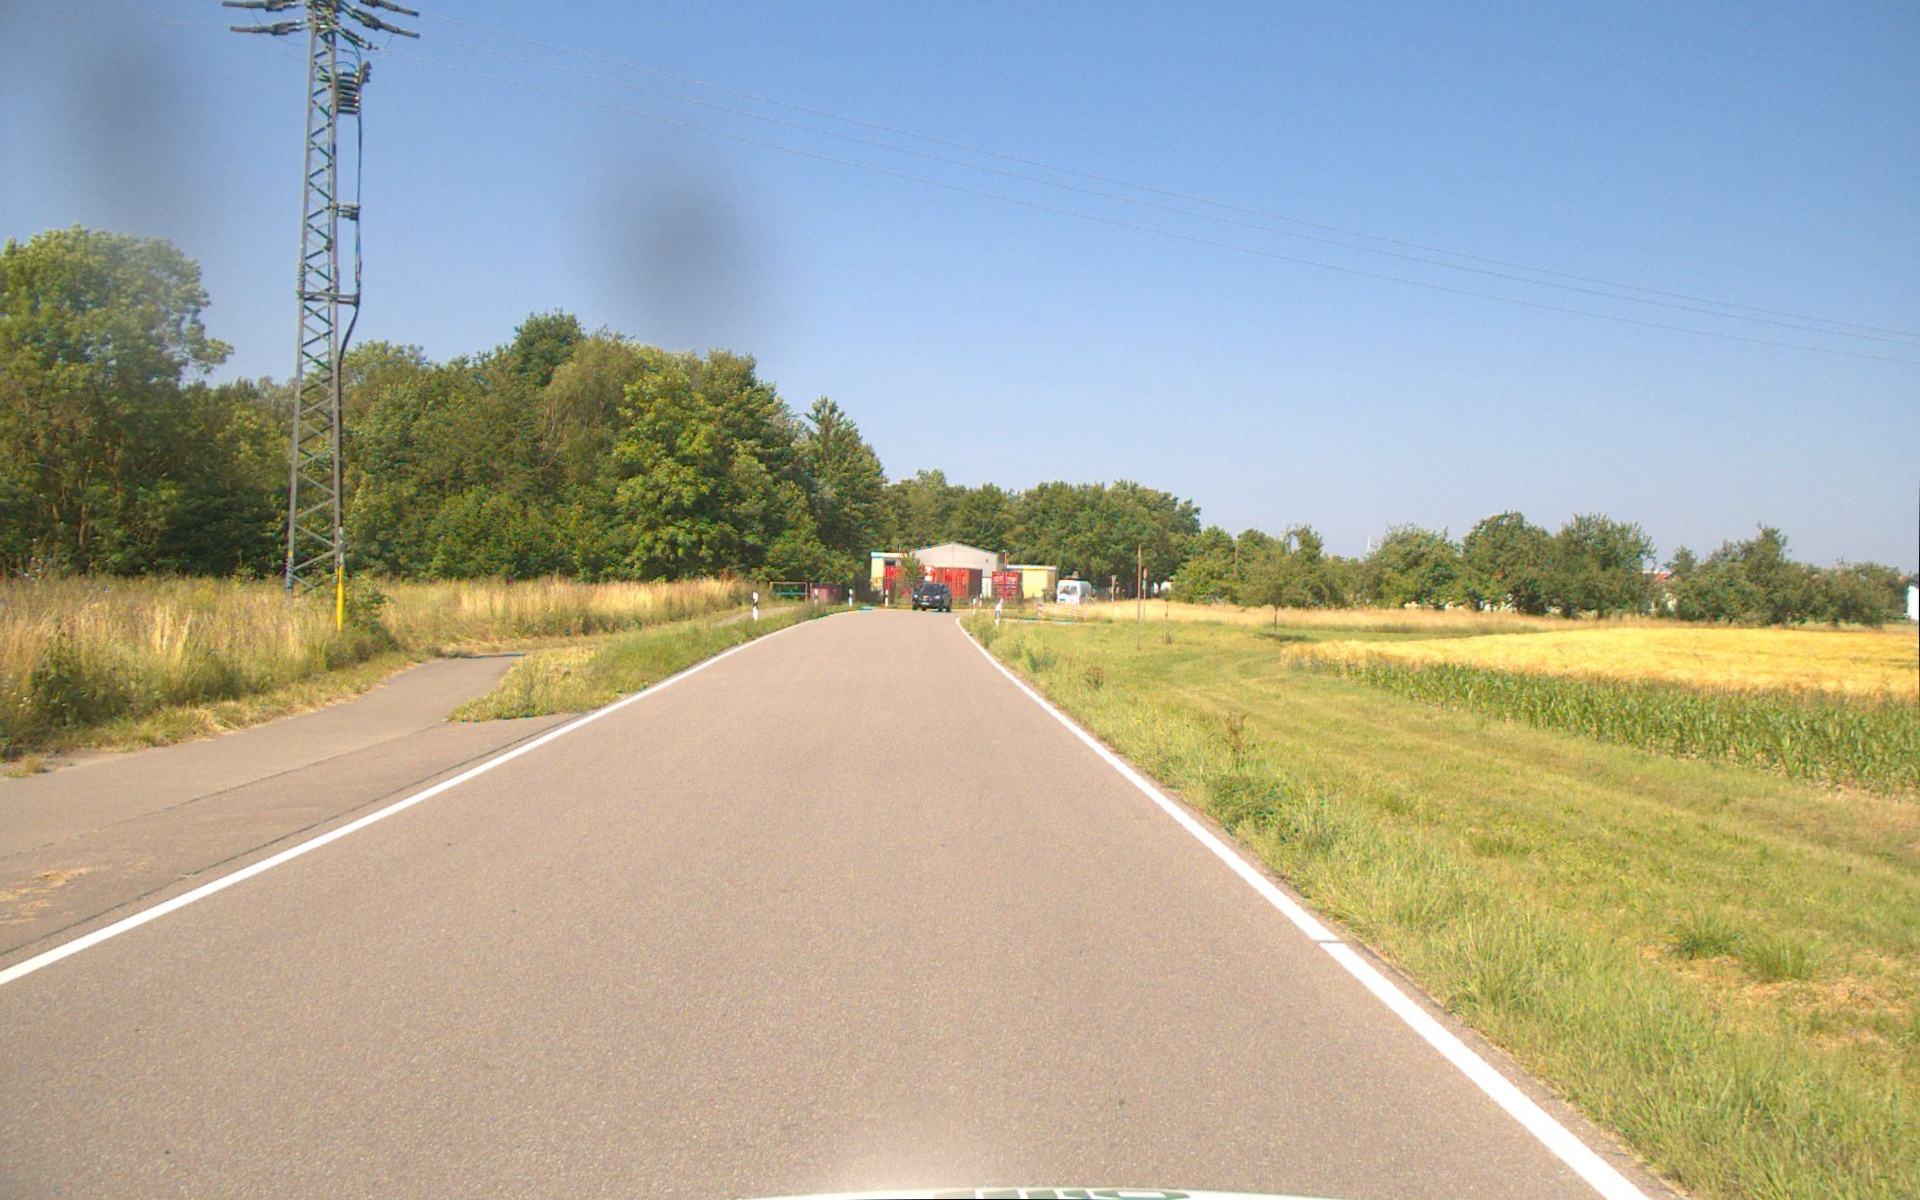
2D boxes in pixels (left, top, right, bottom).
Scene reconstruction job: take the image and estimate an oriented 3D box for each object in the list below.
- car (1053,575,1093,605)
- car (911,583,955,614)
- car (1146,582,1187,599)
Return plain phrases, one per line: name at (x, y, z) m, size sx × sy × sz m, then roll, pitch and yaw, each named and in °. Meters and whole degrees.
car at (9.060, -0.806, 132.072) m, size 1.952 × 2.305 × 4.728 m, roll 2°, pitch 0°, yaw 19°
car at (-1.659, -0.097, 102.459) m, size 1.826 × 1.783 × 4.300 m, roll 1°, pitch 0°, yaw 11°
car at (30.005, -1.416, 240.251) m, size 5.511 × 2.305 × 1.989 m, roll 1°, pitch 0°, yaw -20°
